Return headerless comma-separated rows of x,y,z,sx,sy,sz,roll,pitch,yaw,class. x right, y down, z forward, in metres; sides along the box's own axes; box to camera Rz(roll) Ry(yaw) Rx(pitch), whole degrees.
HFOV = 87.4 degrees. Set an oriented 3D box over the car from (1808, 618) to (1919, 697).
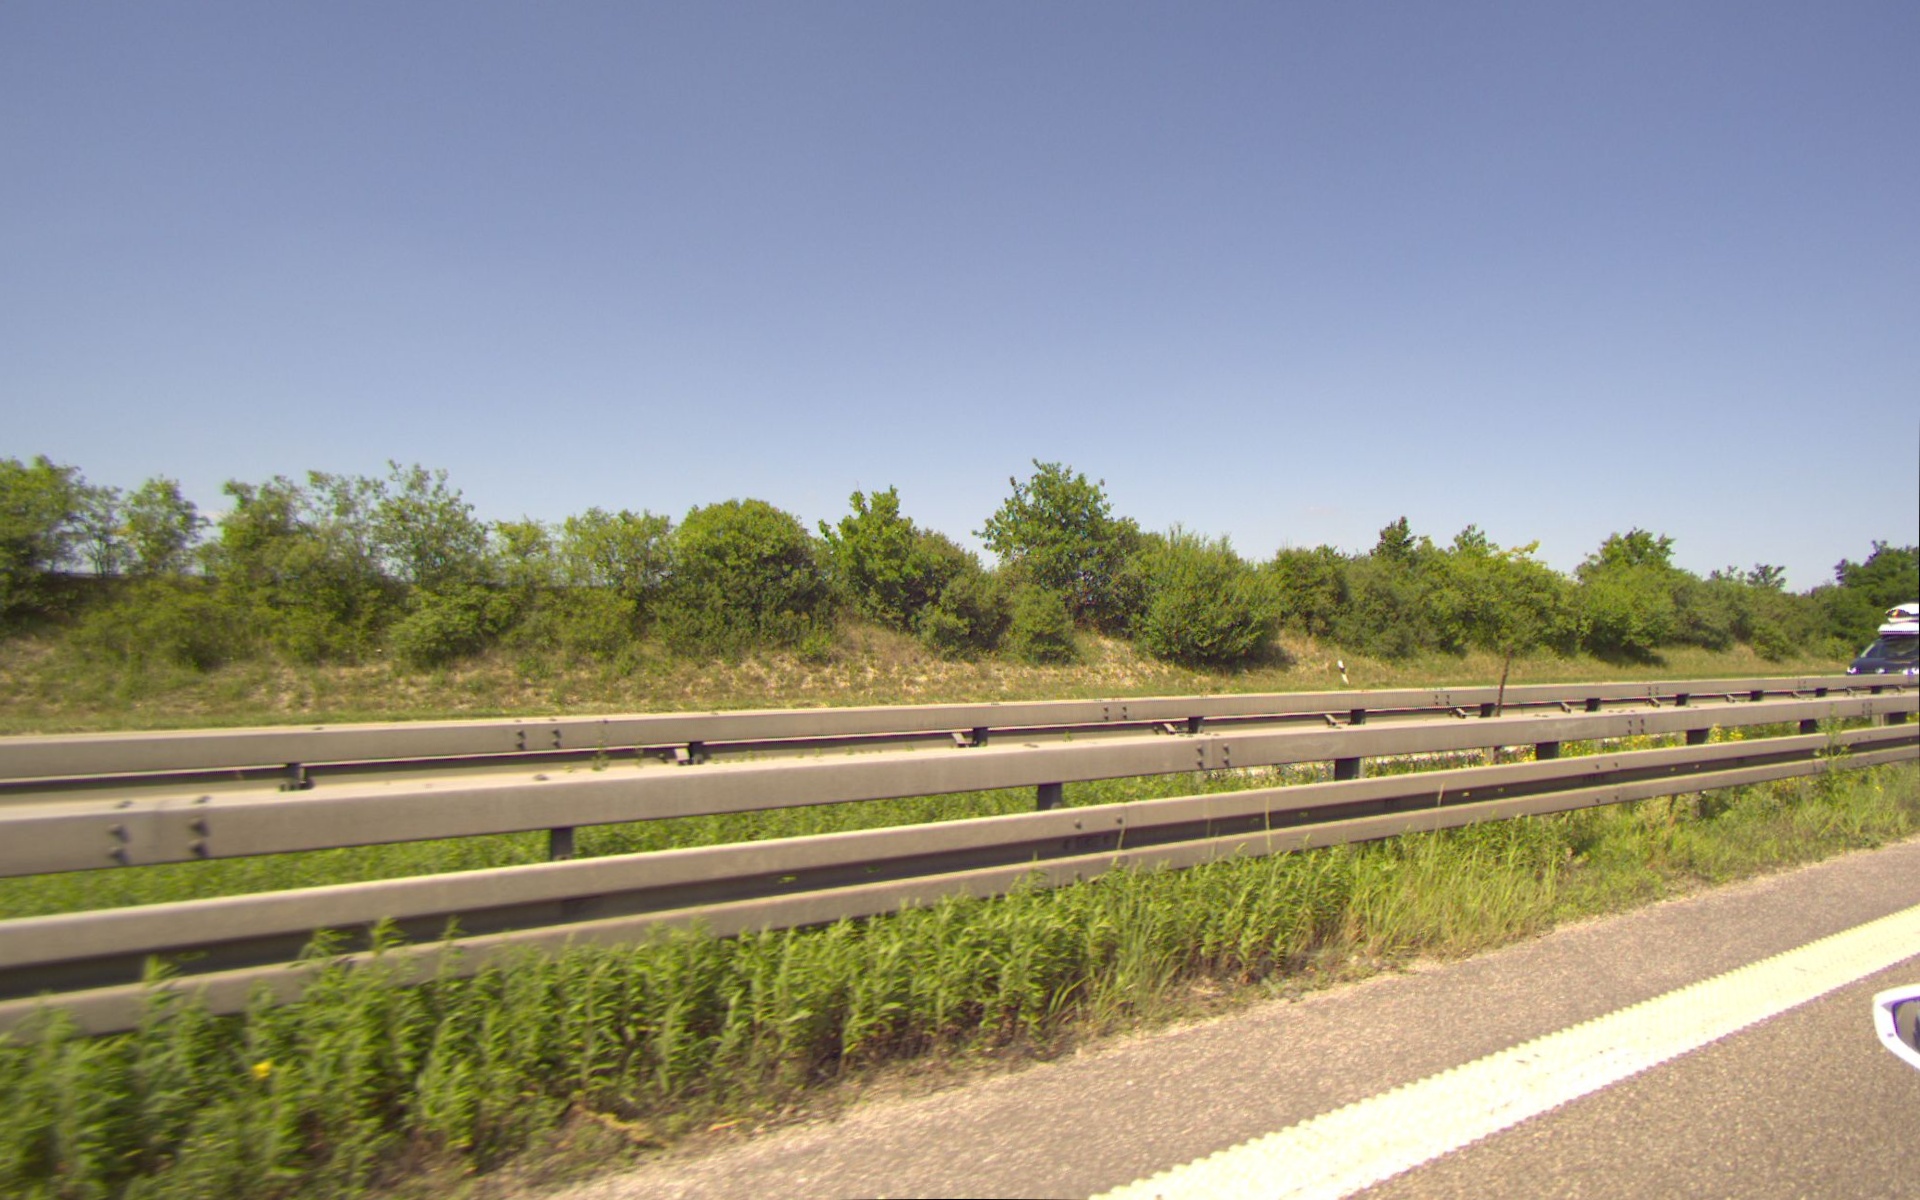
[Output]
26.906,1.653,29.302,4.252,2.137,1.984,2,-2,-30,car
